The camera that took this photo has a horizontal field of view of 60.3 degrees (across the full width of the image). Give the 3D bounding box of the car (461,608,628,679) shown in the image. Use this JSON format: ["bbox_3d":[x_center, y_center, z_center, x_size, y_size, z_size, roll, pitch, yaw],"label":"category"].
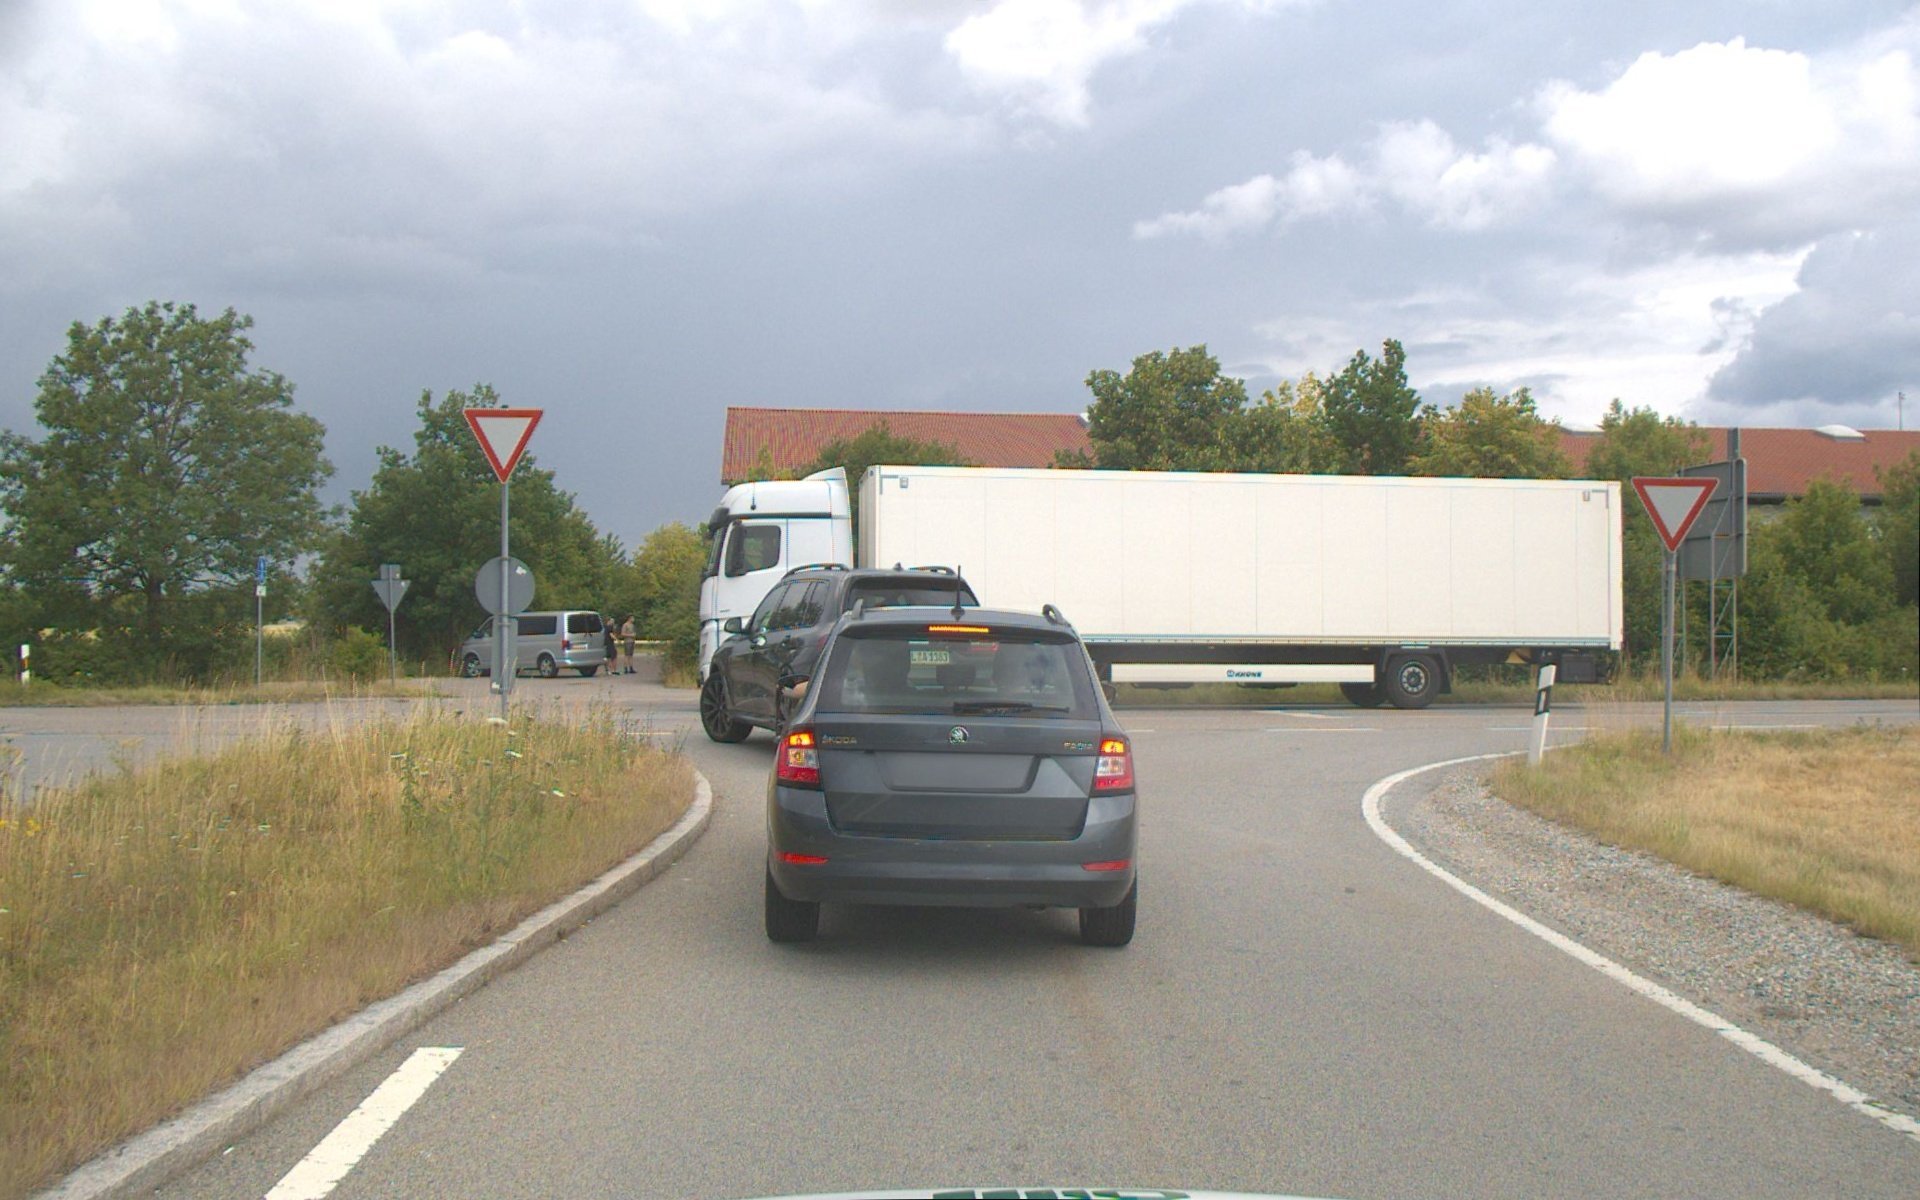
[{"bbox_3d":[-12.857,1.292,51.114,4.810,2.049,2.336,0,1,32],"label":"car"}]

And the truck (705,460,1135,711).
[{"bbox_3d":[-0.802,-0.189,28.937,7.146,4.085,3.123,0,-2,-8],"label":"truck"}]

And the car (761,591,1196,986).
[{"bbox_3d":[-0.026,0.718,8.160,1.643,1.488,3.705,1,0,-3],"label":"car"}]

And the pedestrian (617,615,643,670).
[{"bbox_3d":[-10.451,1.351,52.378,0.552,1.712,0.585,-1,0,22],"label":"pedestrian"}]

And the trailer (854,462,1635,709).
[{"bbox_3d":[4.970,-0.194,29.773,13.581,4.085,3.123,0,-2,-8],"label":"trailer"}]

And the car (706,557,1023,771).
[{"bbox_3d":[-1.122,0.587,16.505,1.964,1.806,4.617,1,-1,-20],"label":"car"}]

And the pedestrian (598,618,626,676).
[{"bbox_3d":[-10.686,1.430,50.803,0.519,1.756,0.640,-1,0,31],"label":"pedestrian"}]
